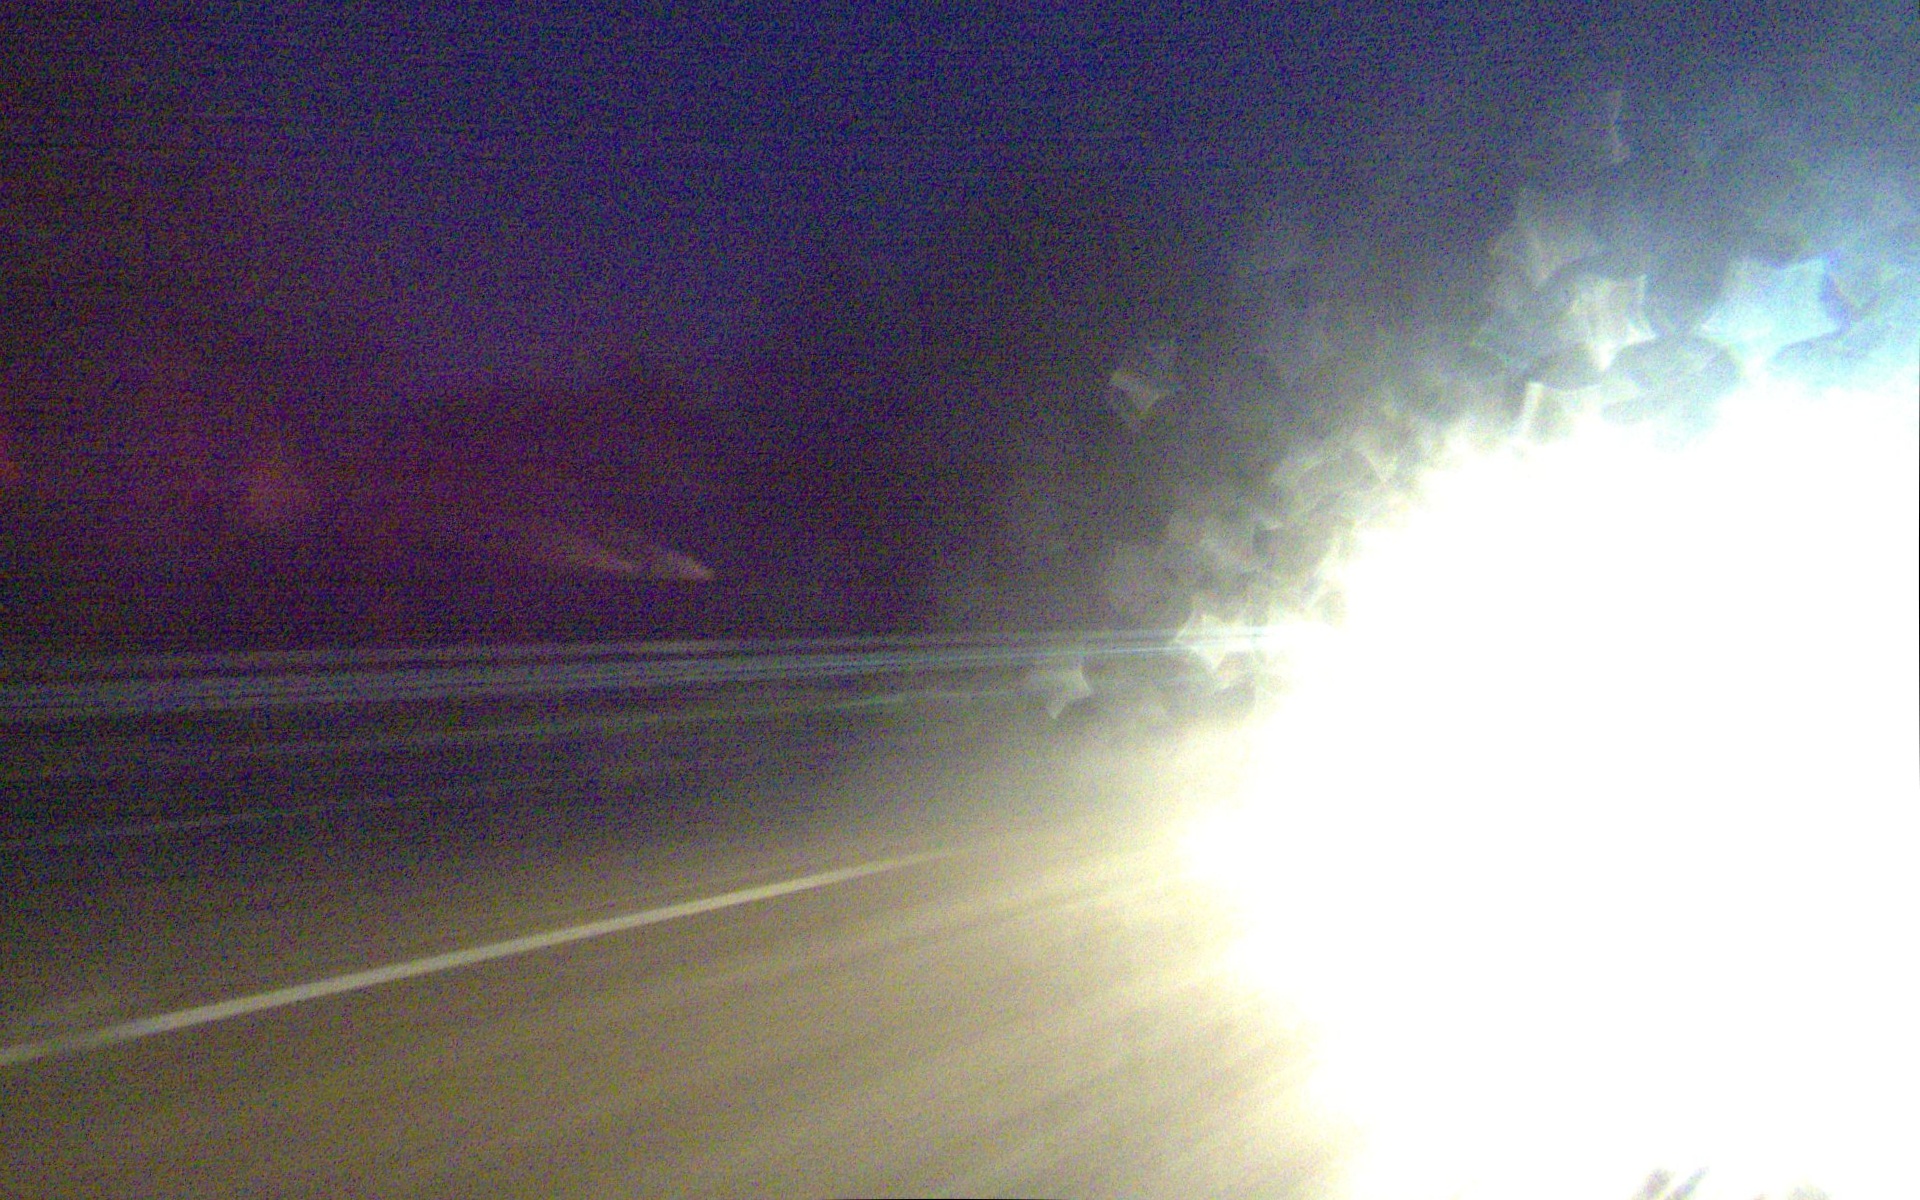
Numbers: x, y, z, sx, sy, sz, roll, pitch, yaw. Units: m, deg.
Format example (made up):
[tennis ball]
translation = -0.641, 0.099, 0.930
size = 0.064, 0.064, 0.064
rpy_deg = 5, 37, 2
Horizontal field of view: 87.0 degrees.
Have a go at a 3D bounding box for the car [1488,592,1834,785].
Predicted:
[car]
translation = 6.897, 0.679, 9.790
size = 4.121, 1.476, 1.773
rpy_deg = 0, 0, -41
